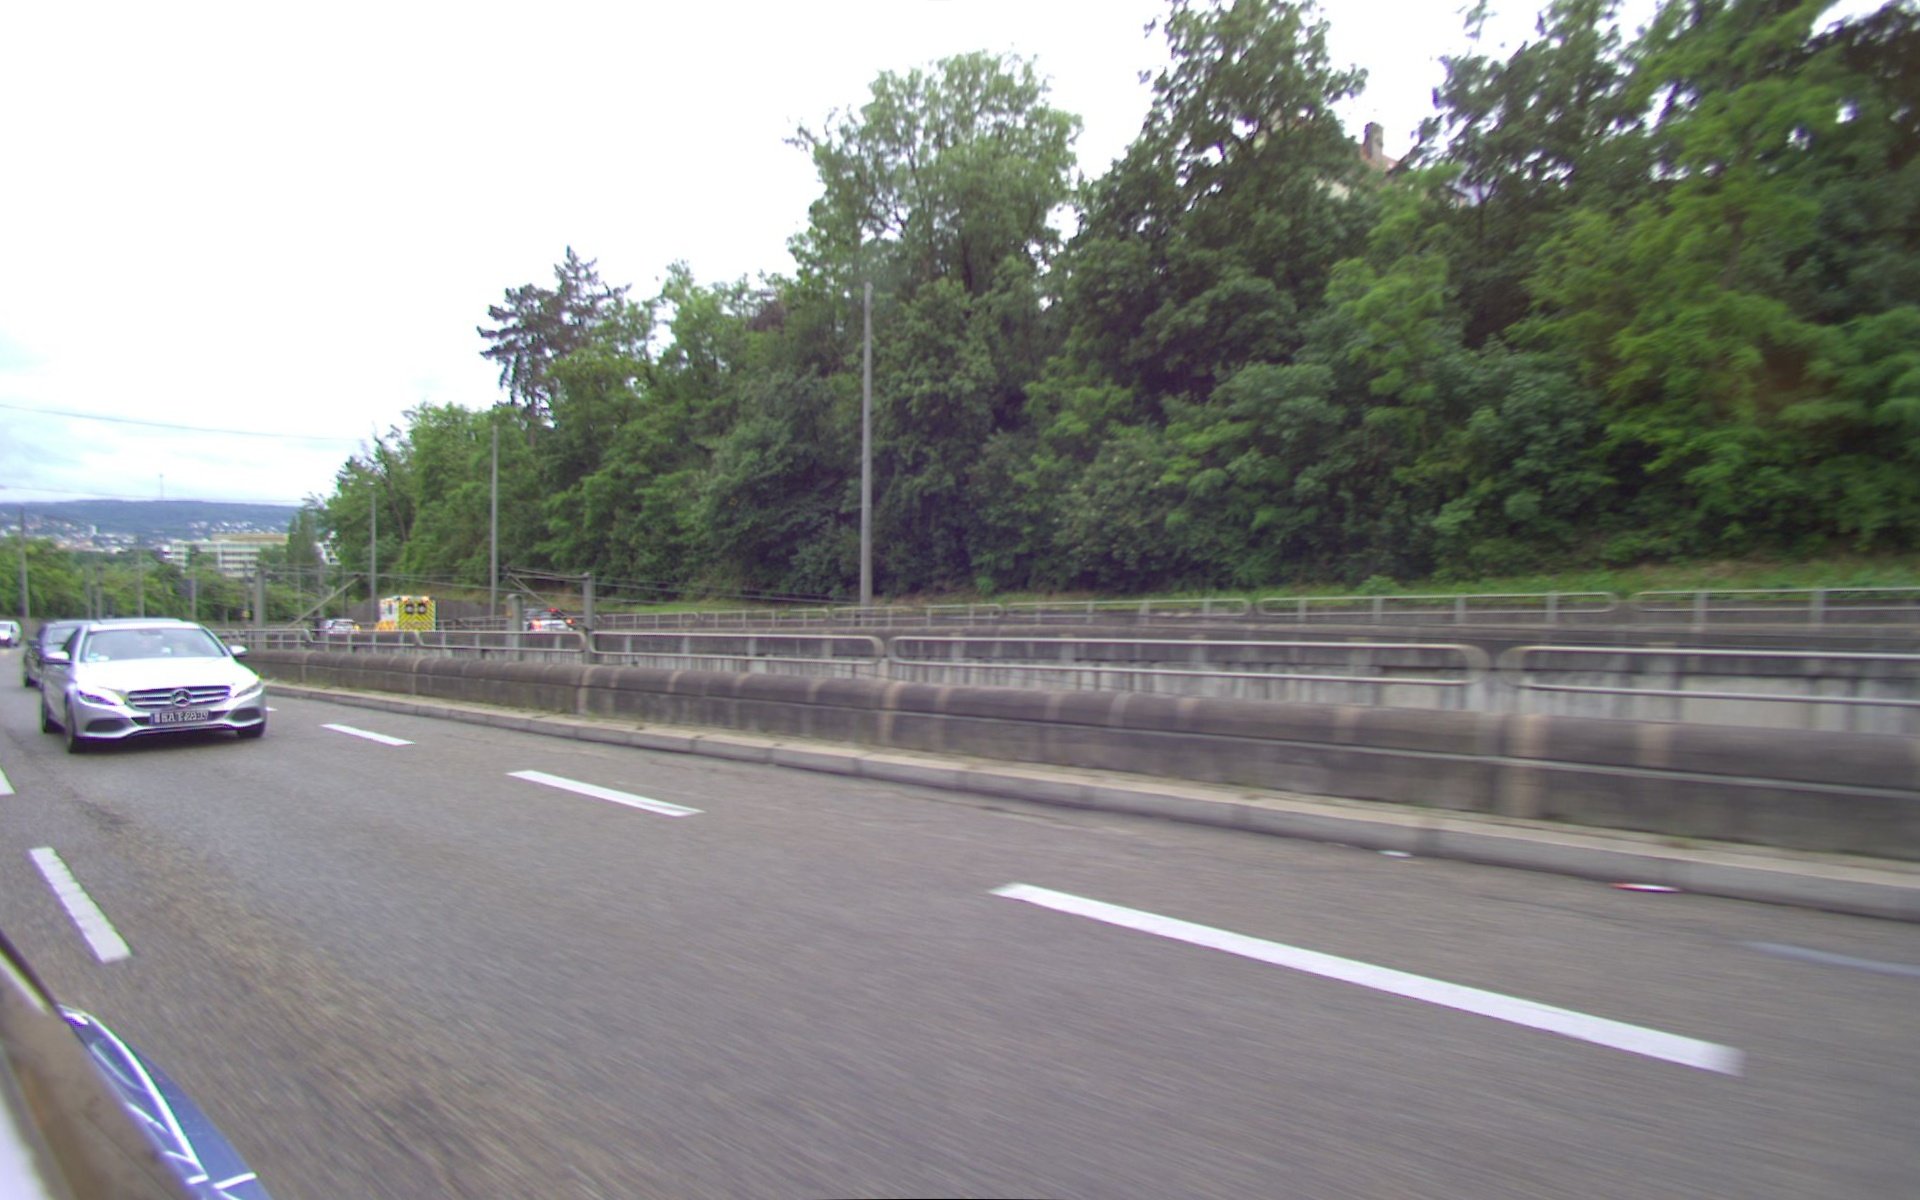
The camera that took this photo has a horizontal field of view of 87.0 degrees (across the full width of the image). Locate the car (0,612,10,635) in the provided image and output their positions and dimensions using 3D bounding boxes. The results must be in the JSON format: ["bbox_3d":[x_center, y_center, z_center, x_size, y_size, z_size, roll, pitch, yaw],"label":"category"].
[{"bbox_3d":[-68.941,1.719,72.102,1.784,1.521,4.004,-3,2,-43],"label":"car"}]

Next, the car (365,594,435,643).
[{"bbox_3d":[-33.443,1.117,60.339,2.156,2.755,6.351,1,-2,-43],"label":"car"}]

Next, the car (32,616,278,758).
[{"bbox_3d":[-10.054,0.933,12.507,4.316,1.413,1.836,-1,-1,44],"label":"car"}]

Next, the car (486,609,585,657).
[{"bbox_3d":[-16.339,1.244,38.847,4.140,1.763,1.940,-1,-2,42],"label":"car"}]

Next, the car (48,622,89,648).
[{"bbox_3d":[-72.355,2.851,82.169,1.967,2.029,4.505,1,-2,-35],"label":"car"}]

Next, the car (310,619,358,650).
[{"bbox_3d":[-36.470,1.970,58.930,1.795,1.717,4.117,1,-1,-40],"label":"car"}]

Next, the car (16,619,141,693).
[{"bbox_3d":[-19.415,1.176,22.247,3.888,1.482,1.706,-2,-1,43],"label":"car"}]
